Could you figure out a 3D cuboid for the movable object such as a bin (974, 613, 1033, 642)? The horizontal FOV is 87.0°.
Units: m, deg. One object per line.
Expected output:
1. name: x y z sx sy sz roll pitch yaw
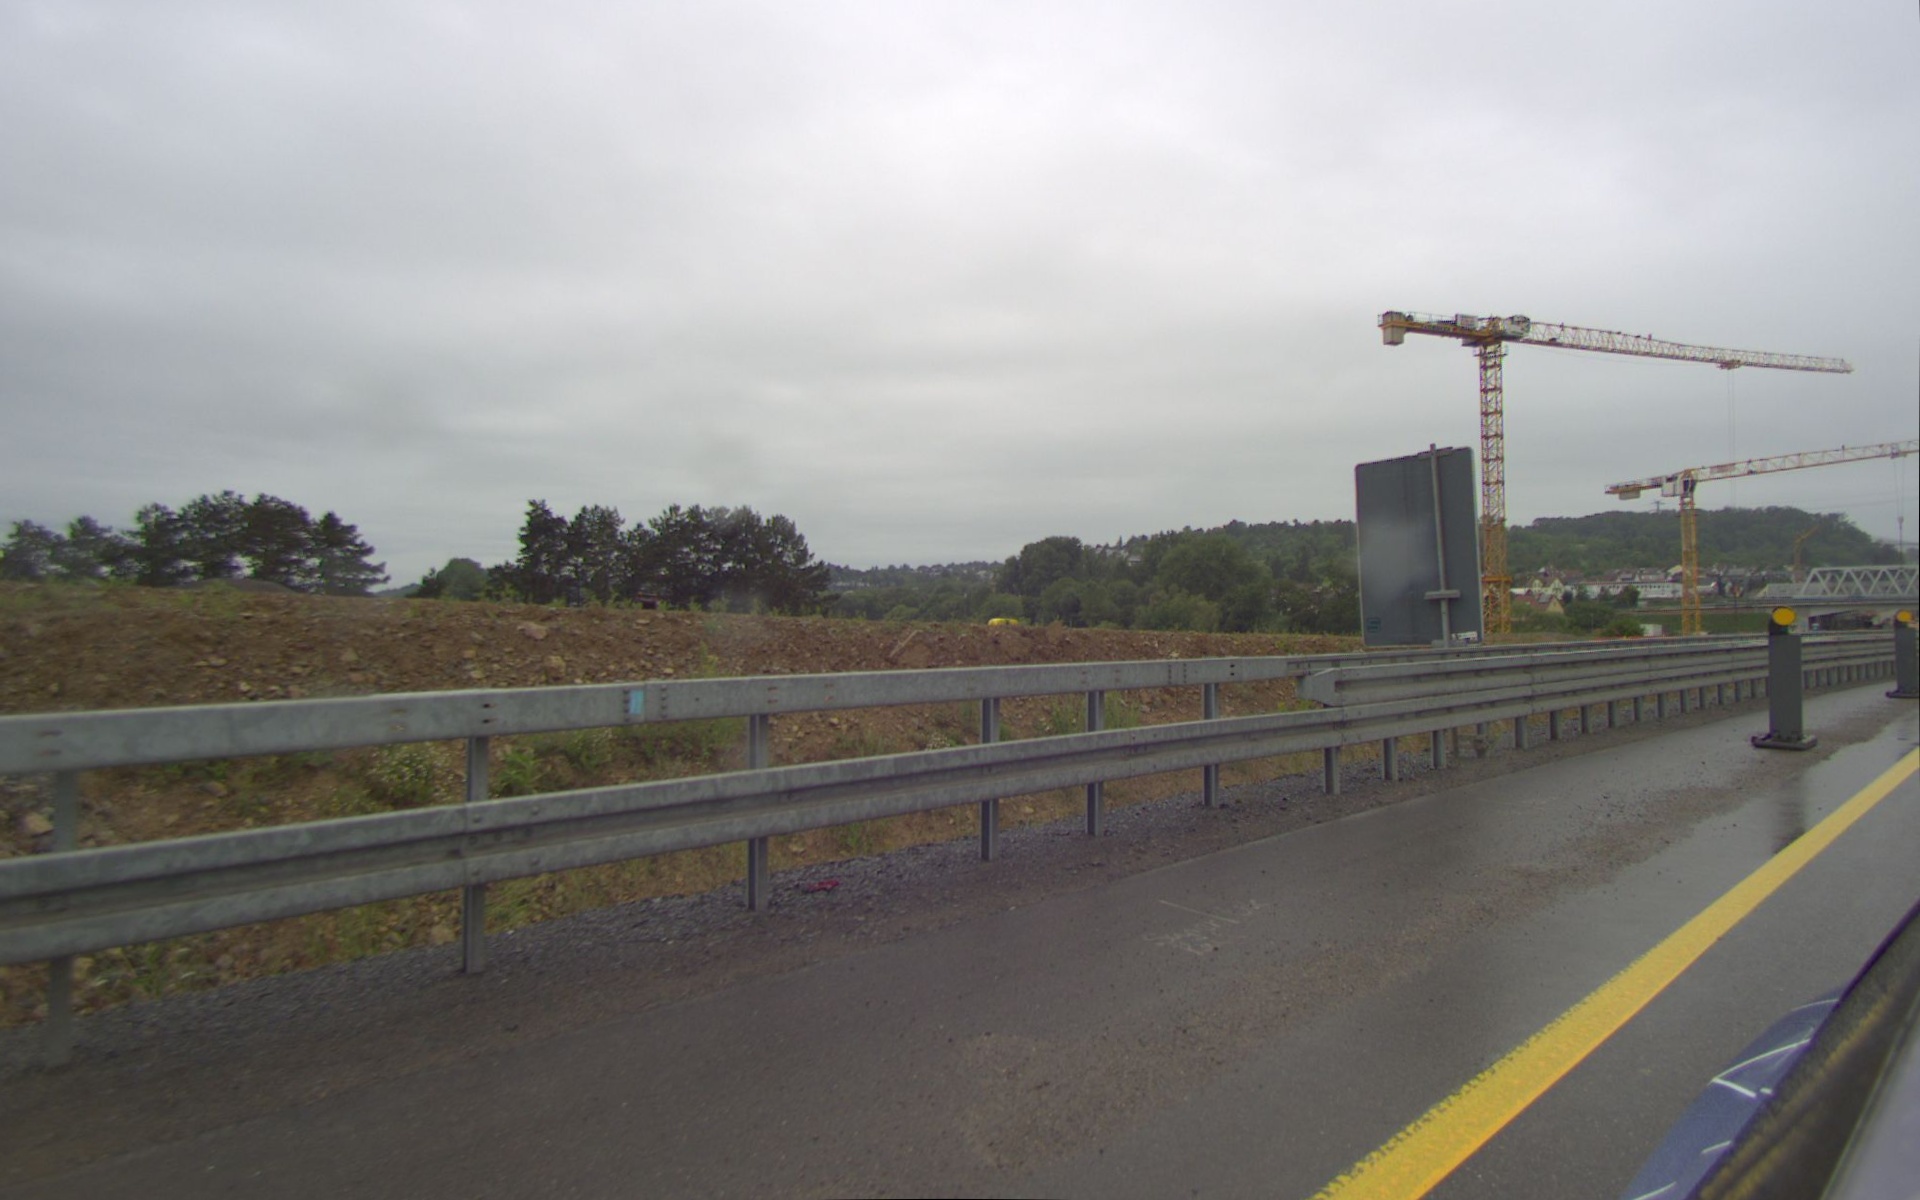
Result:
1. movable object such as a bin: 2.080 1.274 48.280 2.662 1.318 1.388 0 0 -45
